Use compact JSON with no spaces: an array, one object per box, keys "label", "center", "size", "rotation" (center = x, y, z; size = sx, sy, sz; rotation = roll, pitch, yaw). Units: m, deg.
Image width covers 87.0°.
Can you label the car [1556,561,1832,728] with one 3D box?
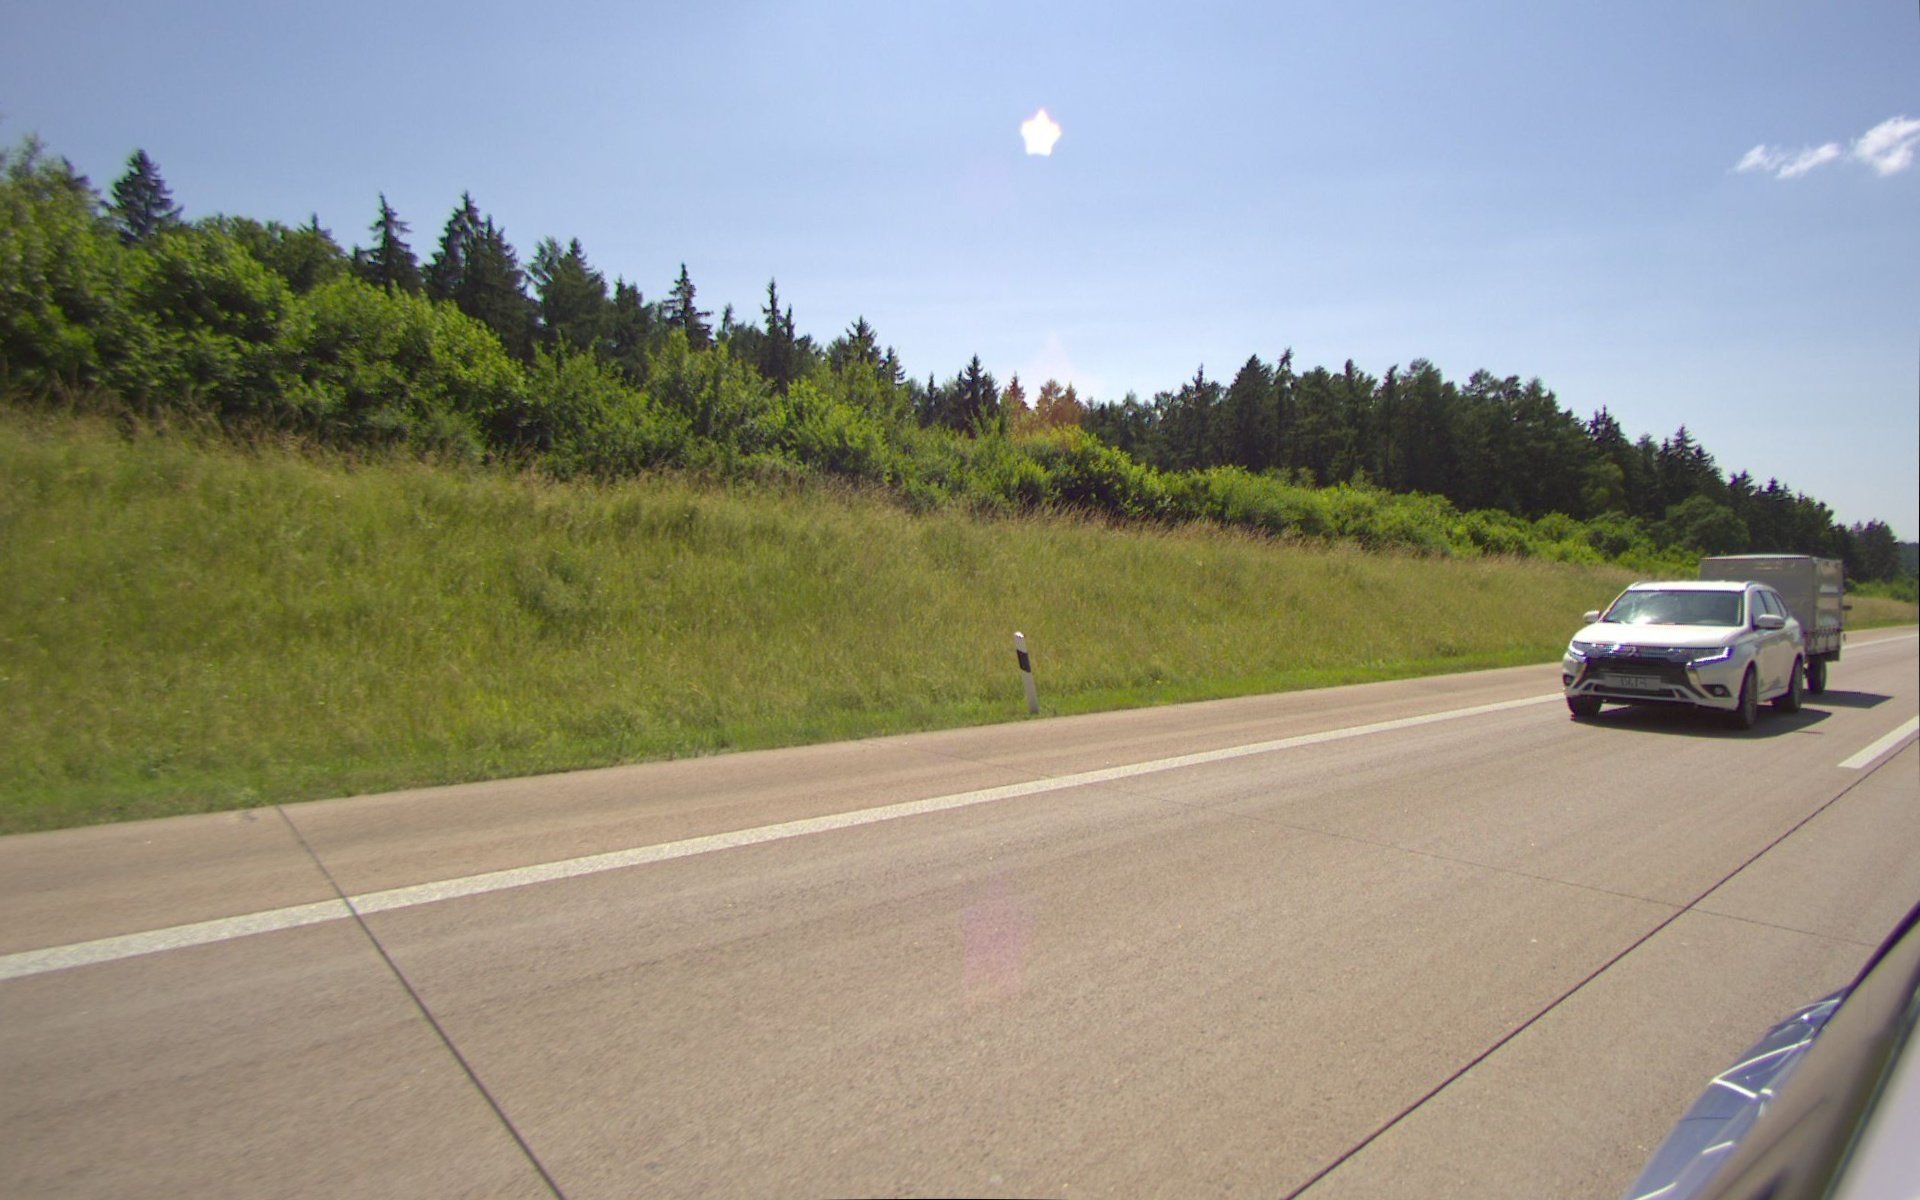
[{"label":"car","center":[9.586,0.432,13.025],"size":[5.098,1.750,1.893],"rotation":[0,1,-42]}]

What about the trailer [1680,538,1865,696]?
[{"label":"trailer","center":[12.931,0.220,16.029],"size":[3.946,2.191,1.660],"rotation":[0,1,-42]}]
